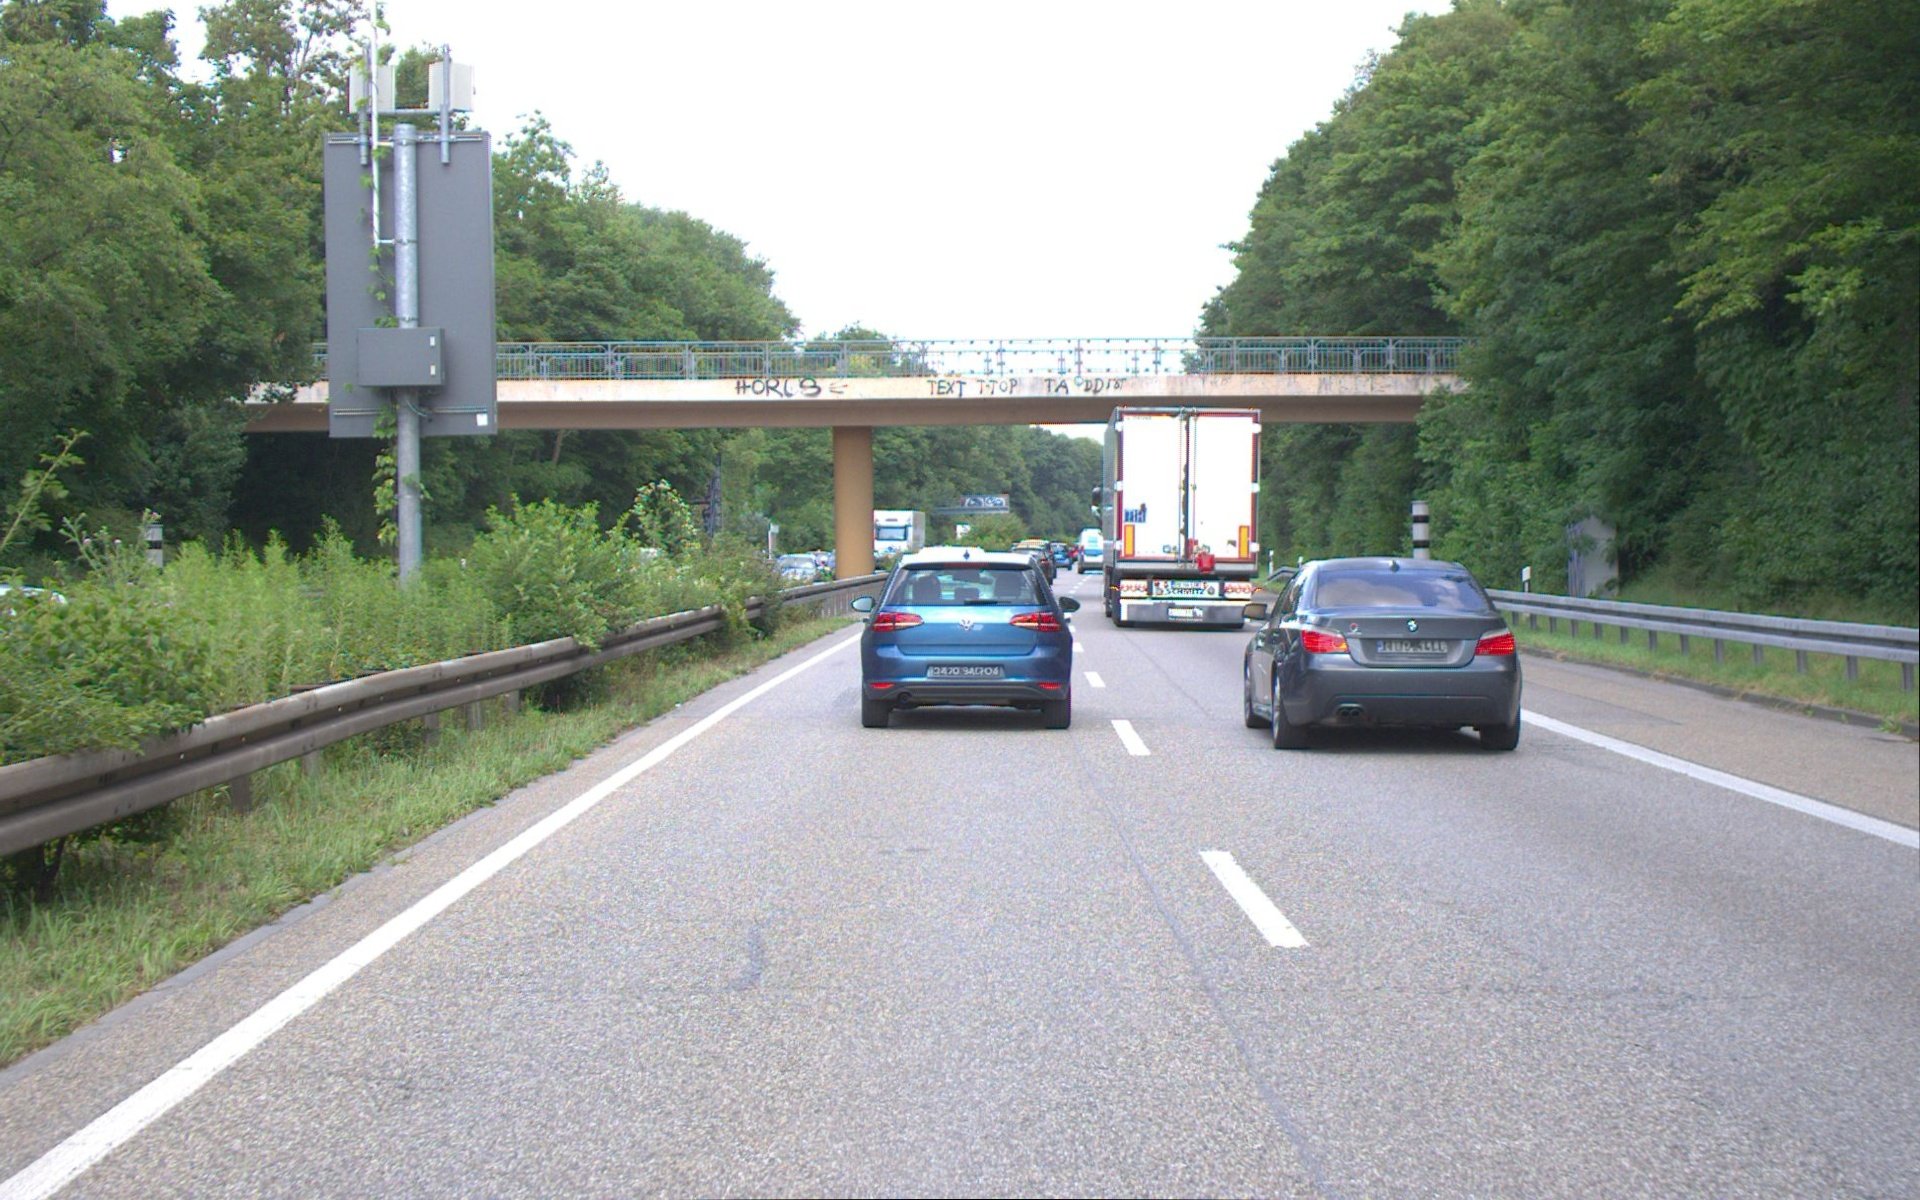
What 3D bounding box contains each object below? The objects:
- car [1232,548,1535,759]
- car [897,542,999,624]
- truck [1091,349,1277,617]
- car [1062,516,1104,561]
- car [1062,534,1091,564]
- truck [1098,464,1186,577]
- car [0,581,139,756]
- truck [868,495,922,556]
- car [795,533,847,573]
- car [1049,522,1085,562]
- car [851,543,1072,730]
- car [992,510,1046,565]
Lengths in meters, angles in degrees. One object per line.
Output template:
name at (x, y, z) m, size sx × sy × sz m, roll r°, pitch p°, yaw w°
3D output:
car at (3.222, 0.347, 27.045) m, size 1.774 × 1.470 × 4.880 m, roll 1°, pitch 1°, yaw 0°
car at (-0.196, -0.345, 64.822) m, size 1.665 × 1.495 × 4.152 m, roll 0°, pitch 1°, yaw 3°
truck at (4.401, -2.182, 66.300) m, size 3.242 × 4.700 × 11.005 m, roll -1°, pitch 1°, yaw 5°
car at (6.337, -3.177, 177.317) m, size 1.993 × 2.247 × 4.442 m, roll -1°, pitch 1°, yaw 1°
car at (8.738, -3.842, 258.277) m, size 1.993 × 2.247 × 4.442 m, roll -1°, pitch 1°, yaw 1°
truck at (7.370, -3.159, 140.672) m, size 3.232 × 4.371 × 12.970 m, roll 0°, pitch 0°, yaw 2°
car at (-8.463, 0.569, 30.371) m, size 1.614 × 1.418 × 3.324 m, roll -1°, pitch 1°, yaw 0°
truck at (-4.353, -5.013, 231.528) m, size 3.040 × 3.973 × 6.748 m, roll -1°, pitch 1°, yaw 3°
car at (-5.788, -1.969, 143.469) m, size 1.865 × 1.583 × 4.565 m, roll -1°, pitch 1°, yaw 1°
car at (6.265, -3.407, 201.317) m, size 1.993 × 2.319 × 4.442 m, roll -1°, pitch 1°, yaw 1°
car at (0.076, 0.257, 29.438) m, size 1.705 × 1.465 × 4.000 m, roll 1°, pitch 1°, yaw 2°
car at (2.234, -2.345, 129.175) m, size 1.954 × 2.007 × 4.000 m, roll -1°, pitch 1°, yaw 2°
